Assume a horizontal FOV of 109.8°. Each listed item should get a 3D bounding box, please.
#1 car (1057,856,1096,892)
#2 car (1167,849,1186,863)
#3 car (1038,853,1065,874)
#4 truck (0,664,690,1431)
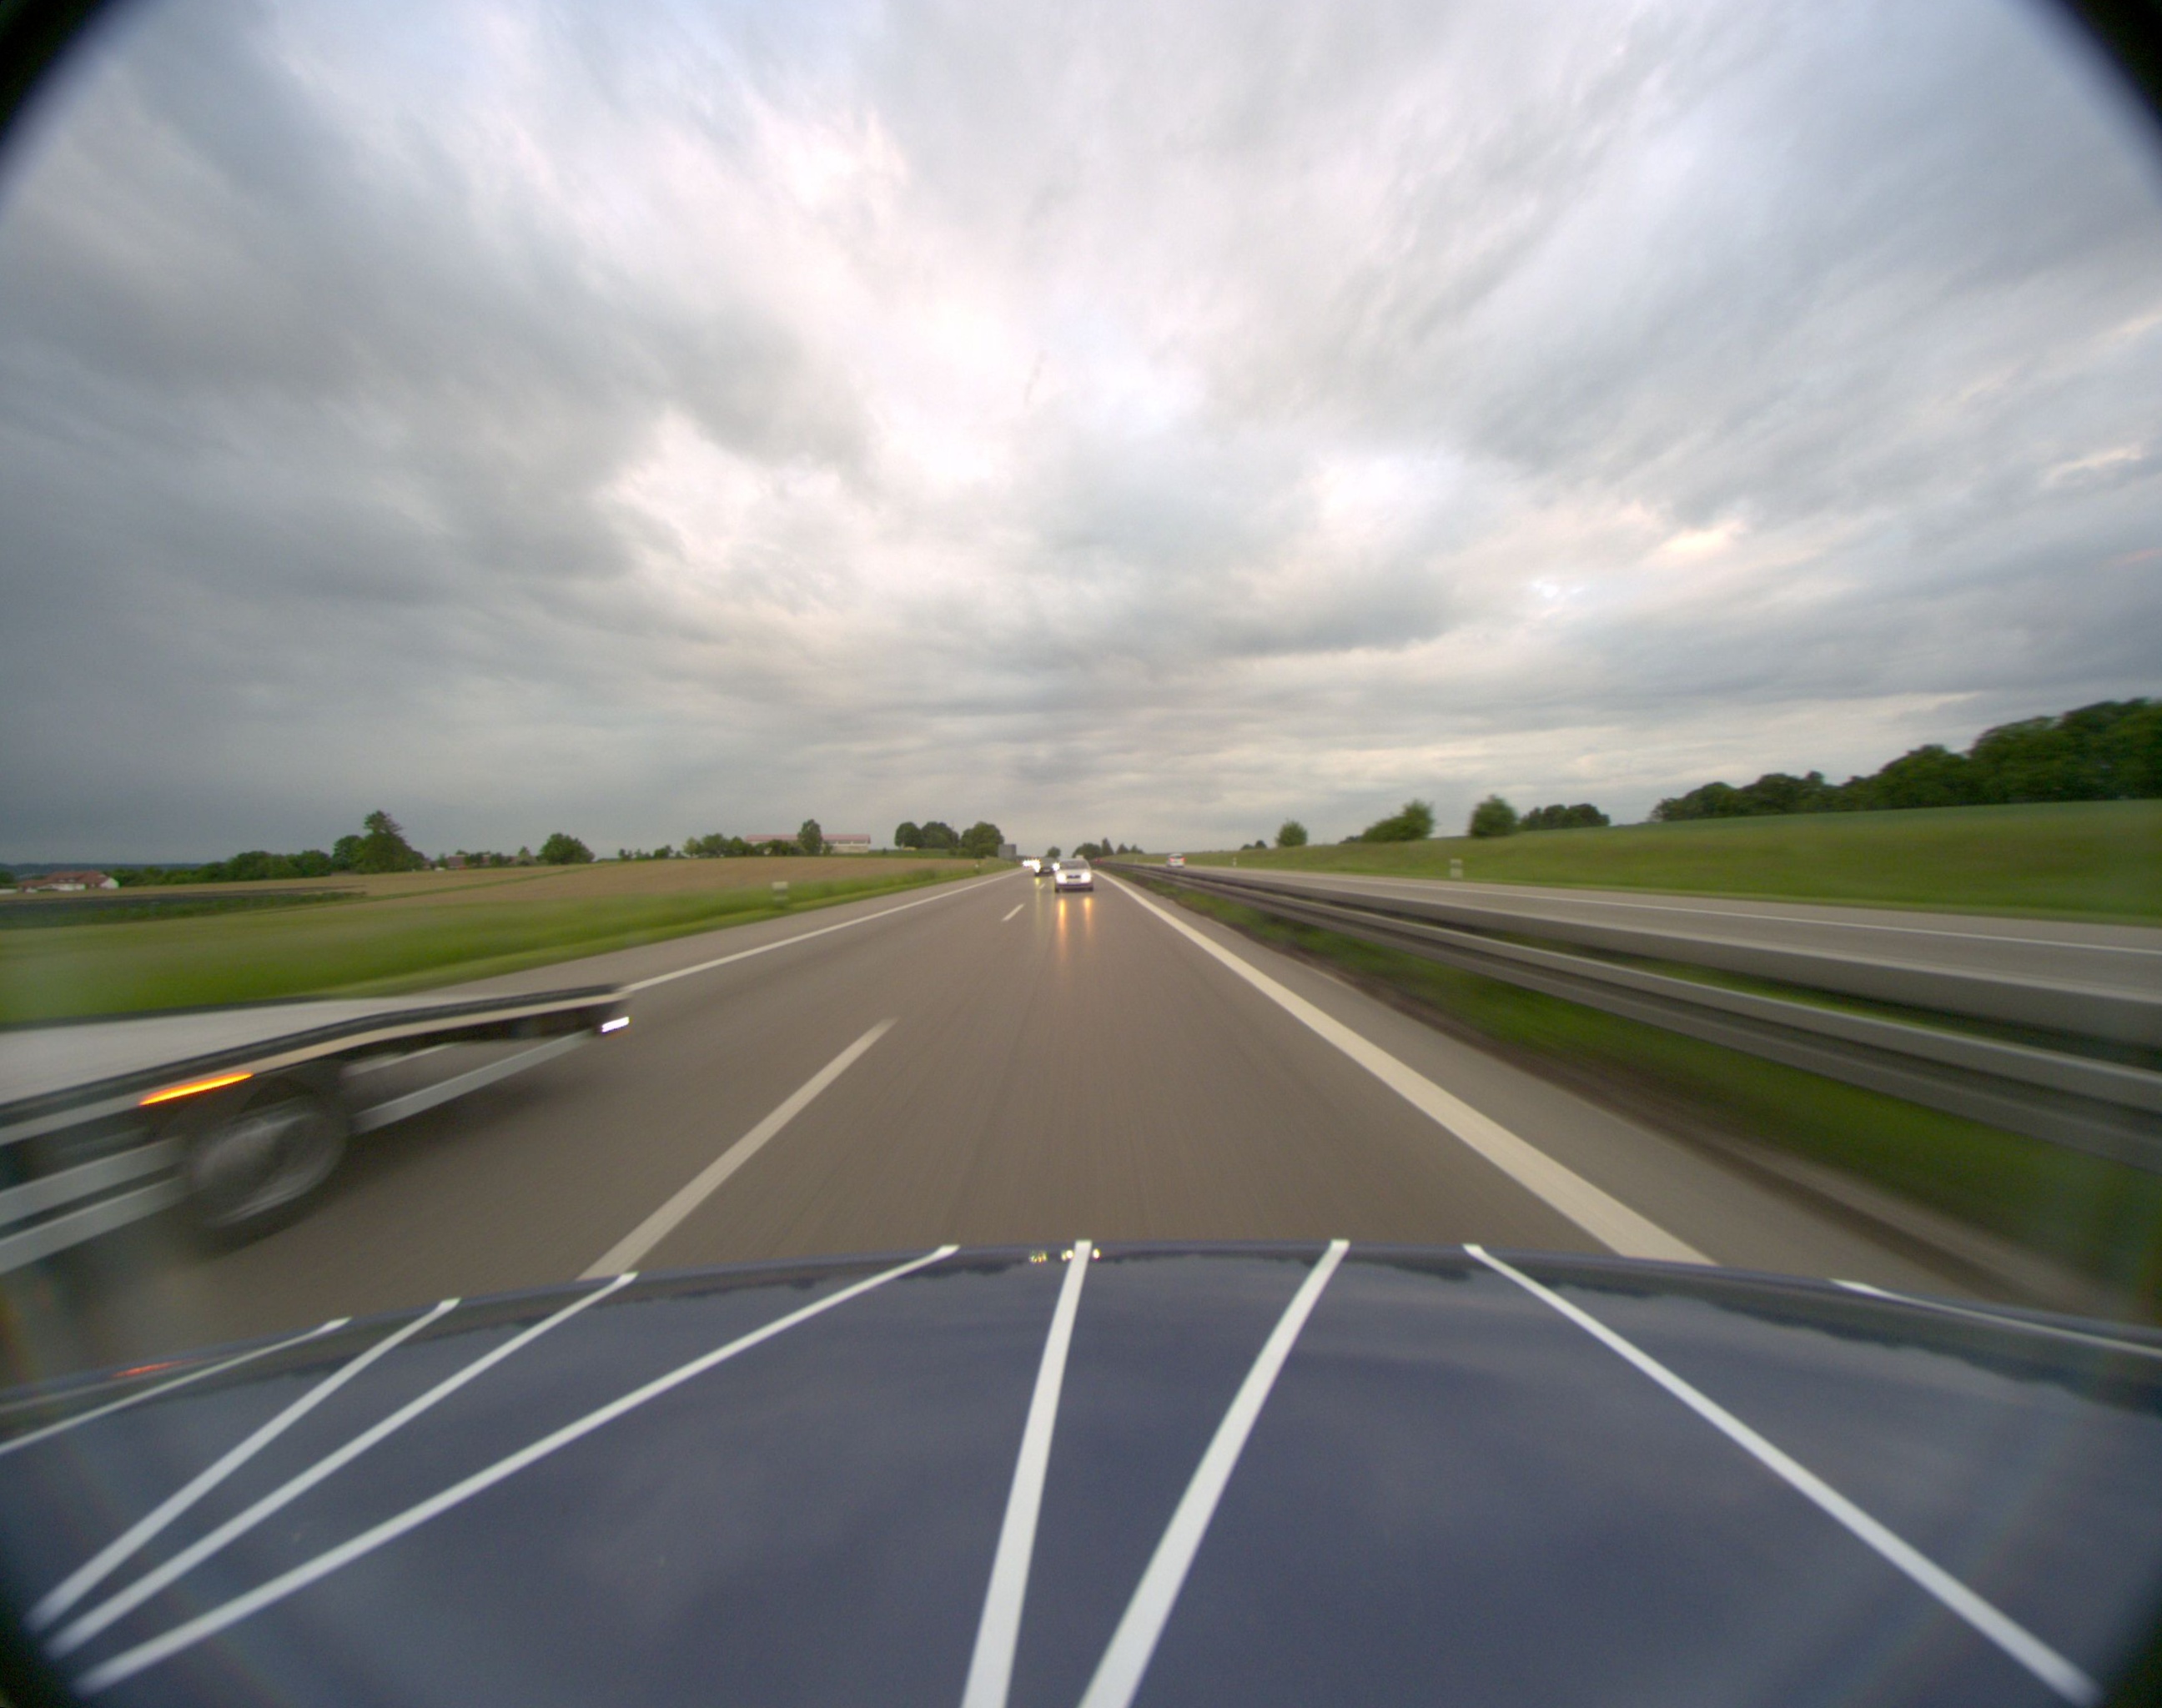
[{"bbox_3d":[-0.193,0.829,33.270,1.592,1.381,4.600,0,1,-1],"label":"car"},{"bbox_3d":[12.236,0.255,98.067,1.765,1.791,4.994,0,0,-1],"label":"car"},{"bbox_3d":[-2.352,0.739,61.393,1.951,1.620,4.535,-1,1,0],"label":"car"},{"bbox_3d":[-4.419,0.625,2.547,2.177,2.346,7.695,-2,0,0],"label":"truck"}]
